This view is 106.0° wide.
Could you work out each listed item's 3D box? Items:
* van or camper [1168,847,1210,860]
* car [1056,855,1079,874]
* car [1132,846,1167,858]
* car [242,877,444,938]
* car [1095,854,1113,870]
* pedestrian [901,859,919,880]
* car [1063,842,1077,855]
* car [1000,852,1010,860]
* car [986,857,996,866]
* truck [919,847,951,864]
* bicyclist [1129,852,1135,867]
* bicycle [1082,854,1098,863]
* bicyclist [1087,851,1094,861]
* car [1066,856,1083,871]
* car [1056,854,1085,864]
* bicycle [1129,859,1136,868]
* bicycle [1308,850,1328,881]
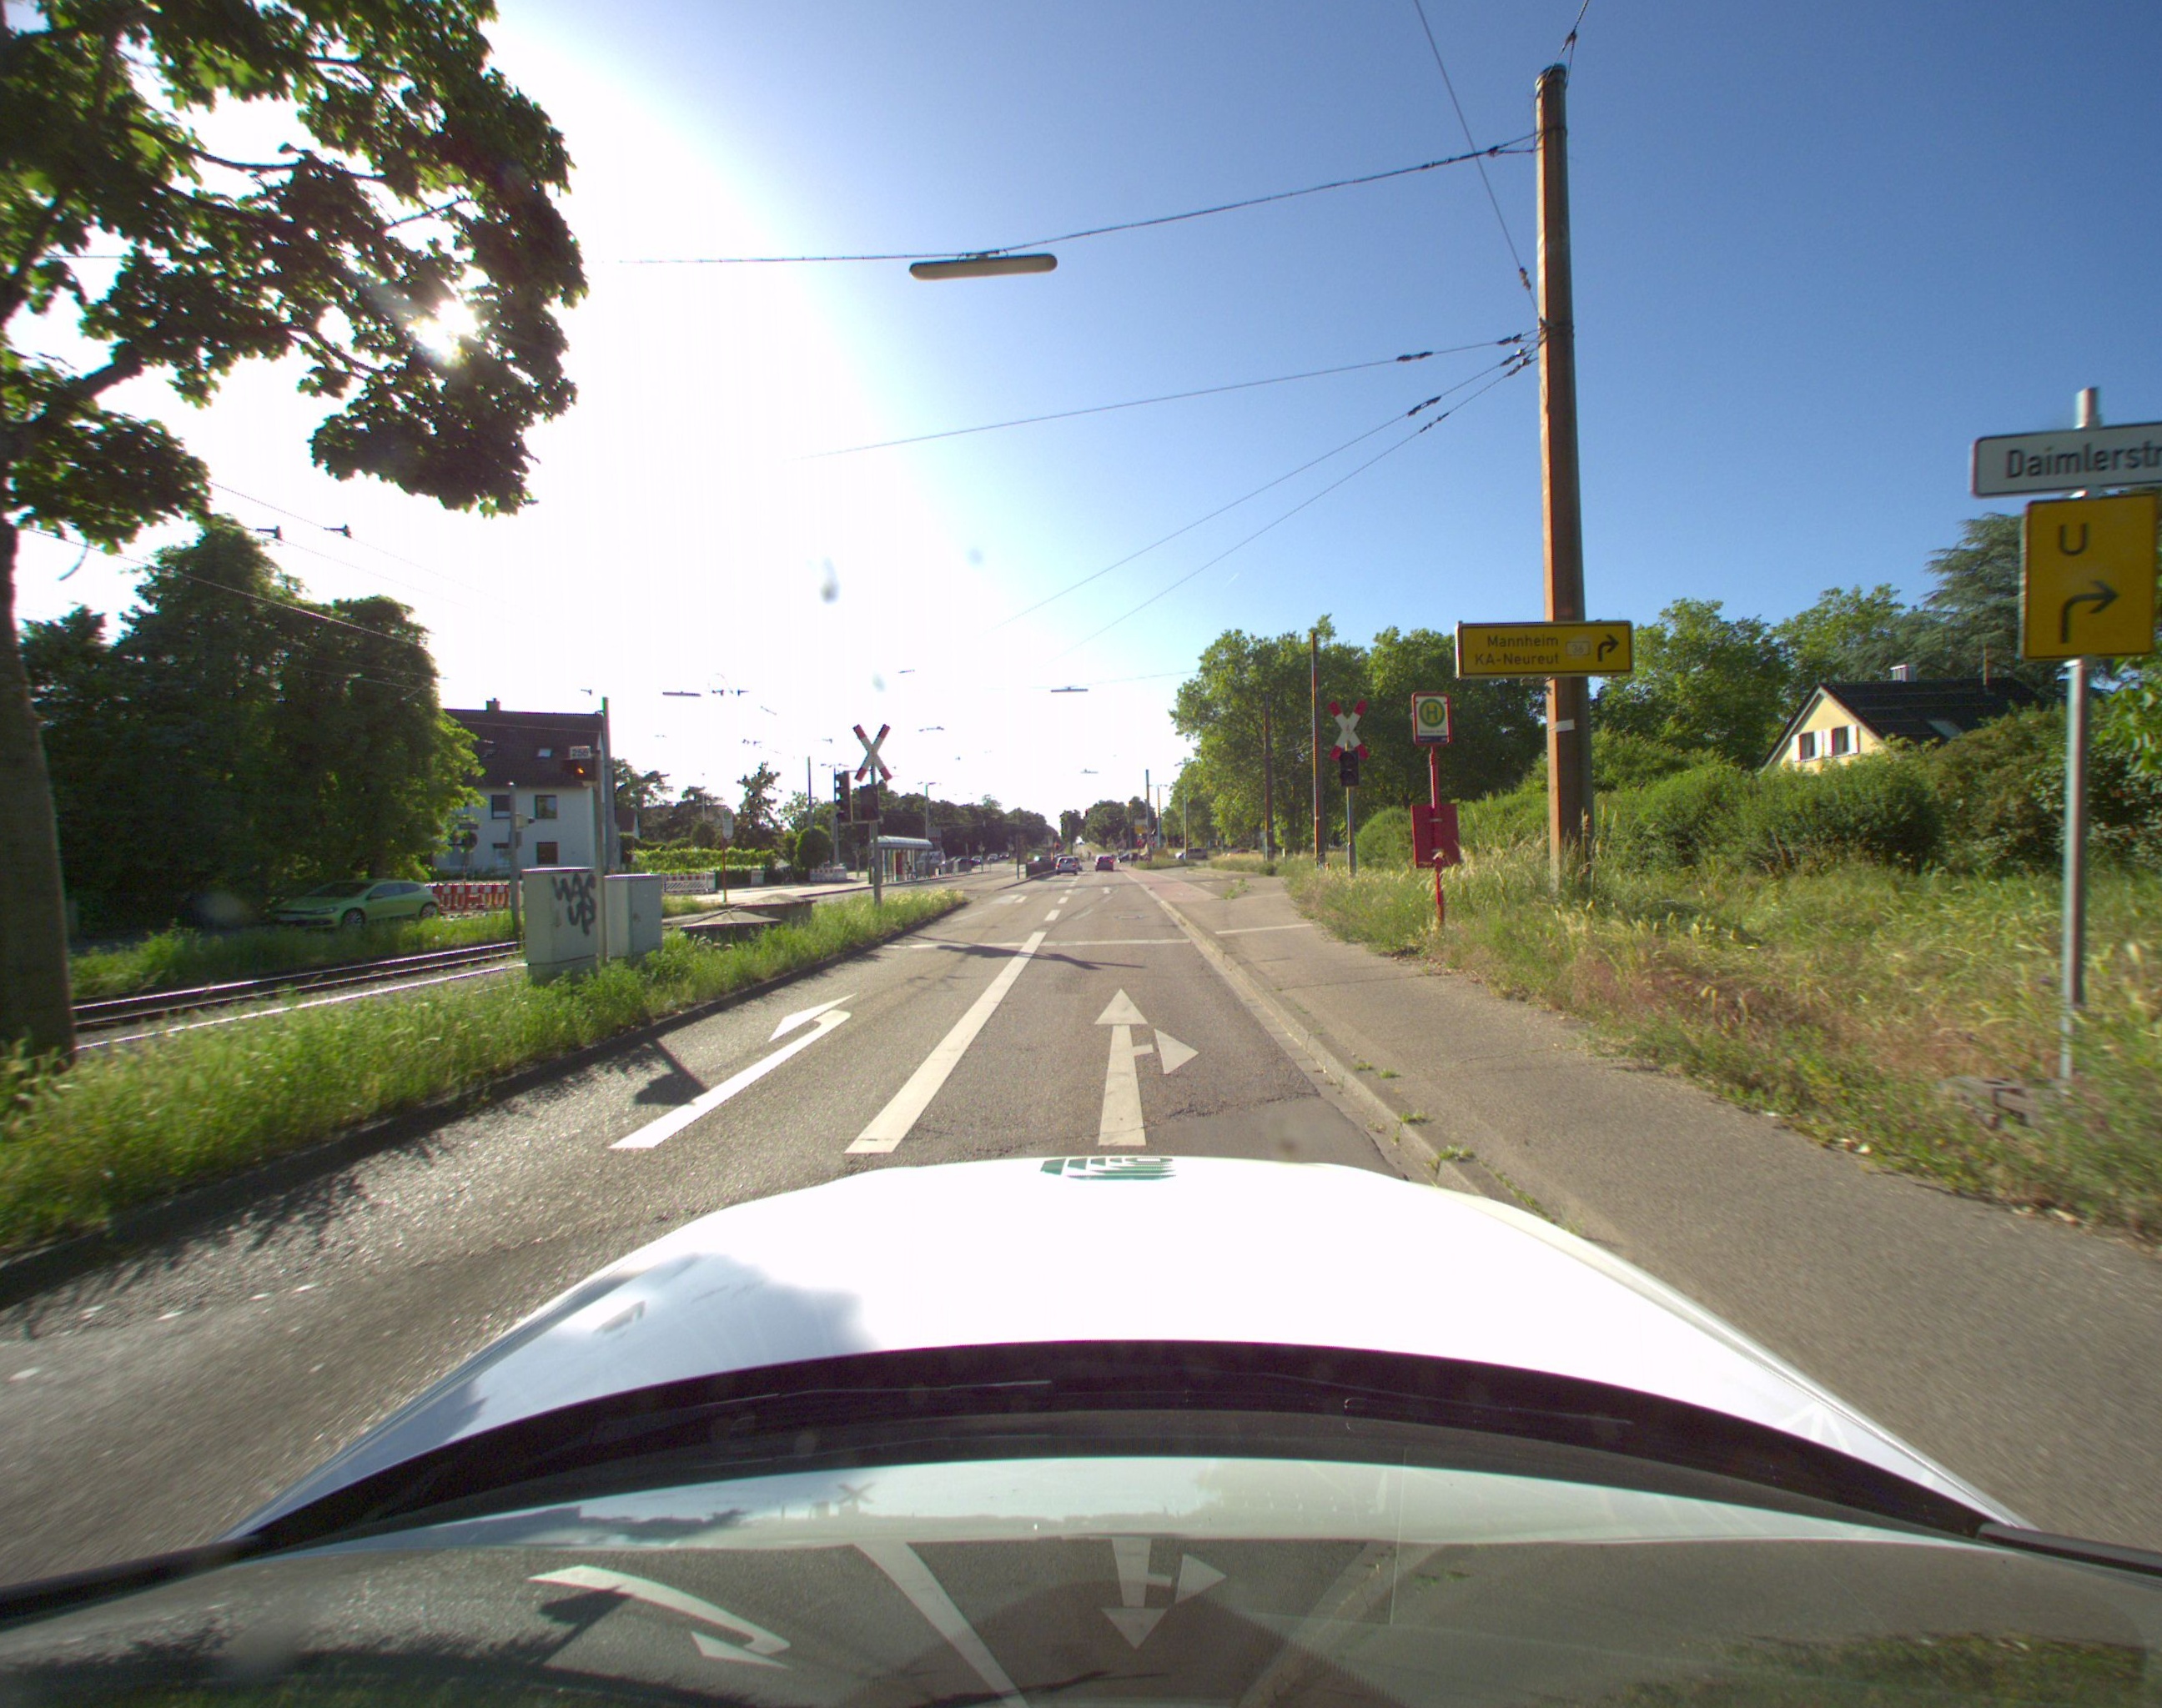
[{"bbox_3d":[16.162,-0.118,121.964,5.955,1.828,1.997,-1,0,-4],"label":"van or camper"},{"bbox_3d":[-1.029,0.816,64.820,1.613,1.418,3.352,-2,-1,1],"label":"car"},{"bbox_3d":[10.756,-0.272,127.208,5.181,1.879,1.983,0,-1,-26],"label":"car"},{"bbox_3d":[-20.875,1.453,23.309,1.986,1.501,4.069,0,-1,1],"label":"car"},{"bbox_3d":[2.189,0.784,77.468,1.662,1.462,3.587,-1,0,1],"label":"car"},{"bbox_3d":[-12.426,1.134,59.121,1.057,1.453,1.007,-2,-1,1],"label":"pedestrian"},{"bbox_3d":[-1.788,-0.876,128.703,1.986,2.014,4.493,0,-1,2],"label":"car"},{"bbox_3d":[-16.146,0.373,173.330,1.991,1.604,4.746,-1,0,-6],"label":"car"},{"bbox_3d":[-16.914,1.368,153.020,1.829,1.548,4.277,-2,0,-5],"label":"car"},{"bbox_3d":[-23.297,0.176,130.691,1.977,2.565,6.855,-2,0,18],"label":"truck"},{"bbox_3d":[5.761,0.613,91.415,0.663,1.716,0.948,0,-1,1],"label":"bicyclist"},{"bbox_3d":[1.516,0.732,132.654,2.401,1.263,0.813,-2,0,-17],"label":"bicycle"},{"bbox_3d":[1.567,0.356,132.667,1.009,1.647,0.813,-1,0,-16],"label":"bicyclist"},{"bbox_3d":[-0.659,0.948,83.004,1.613,1.457,4.086,-1,-1,1],"label":"car"},{"bbox_3d":[-1.503,0.813,121.835,4.000,1.473,1.740,0,-1,-20],"label":"car"},{"bbox_3d":[5.765,1.020,91.491,0.719,0.989,2.876,0,-1,1],"label":"bicycle"},{"bbox_3d":[9.059,0.427,31.091,0.362,1.135,2.108,-3,-1,25],"label":"bicycle"}]
